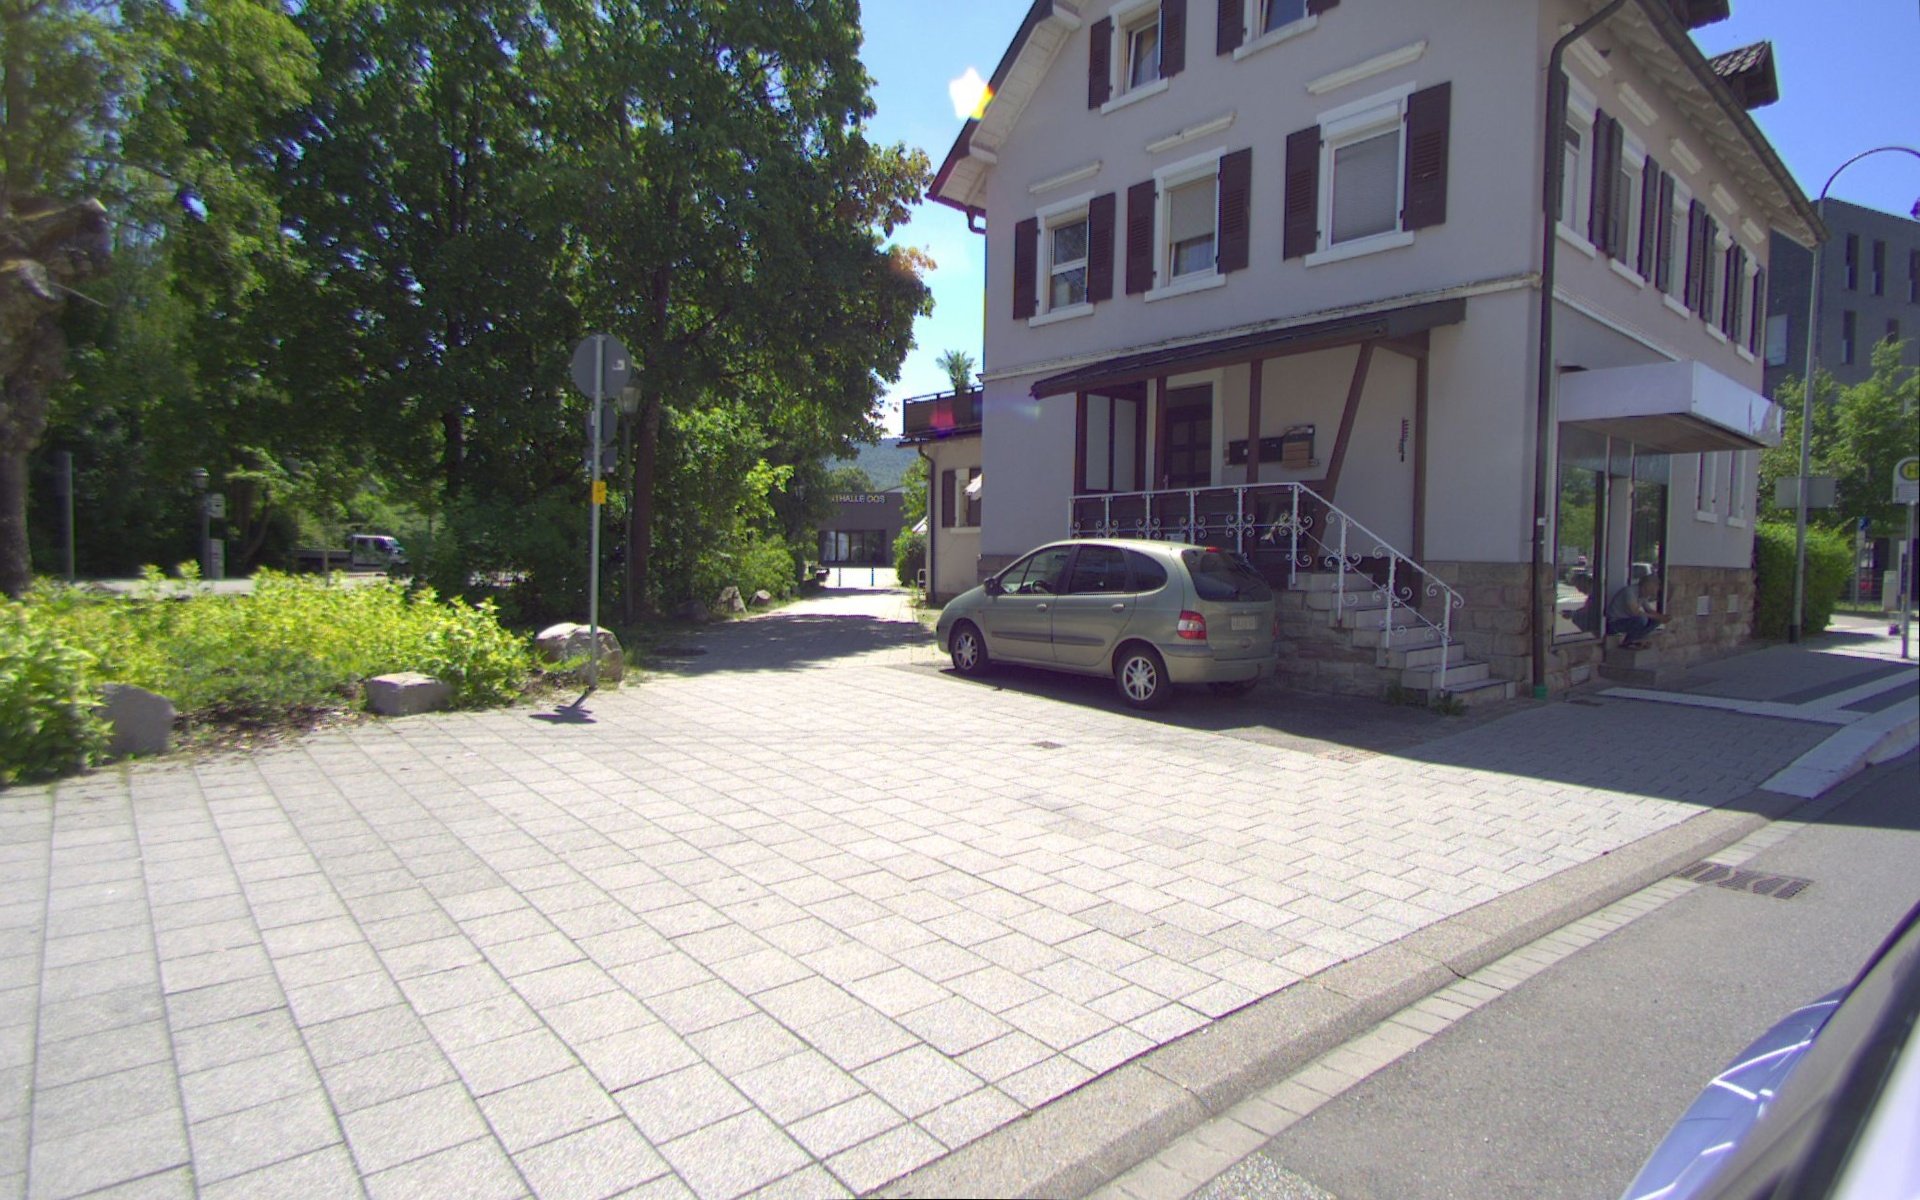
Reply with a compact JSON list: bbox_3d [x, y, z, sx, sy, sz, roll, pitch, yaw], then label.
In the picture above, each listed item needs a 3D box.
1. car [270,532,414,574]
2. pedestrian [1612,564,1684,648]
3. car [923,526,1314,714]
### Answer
[{"bbox_3d":[-35.016,-2.655,57.510,6.624,2.266,2.199,0,2,-11],"label":"car"},{"bbox_3d":[8.812,0.061,12.958,0.712,1.011,0.590,-1,4,-44],"label":"pedestrian"},{"bbox_3d":[1.543,0.049,11.128,1.770,1.614,4.072,-1,5,-39],"label":"car"}]
